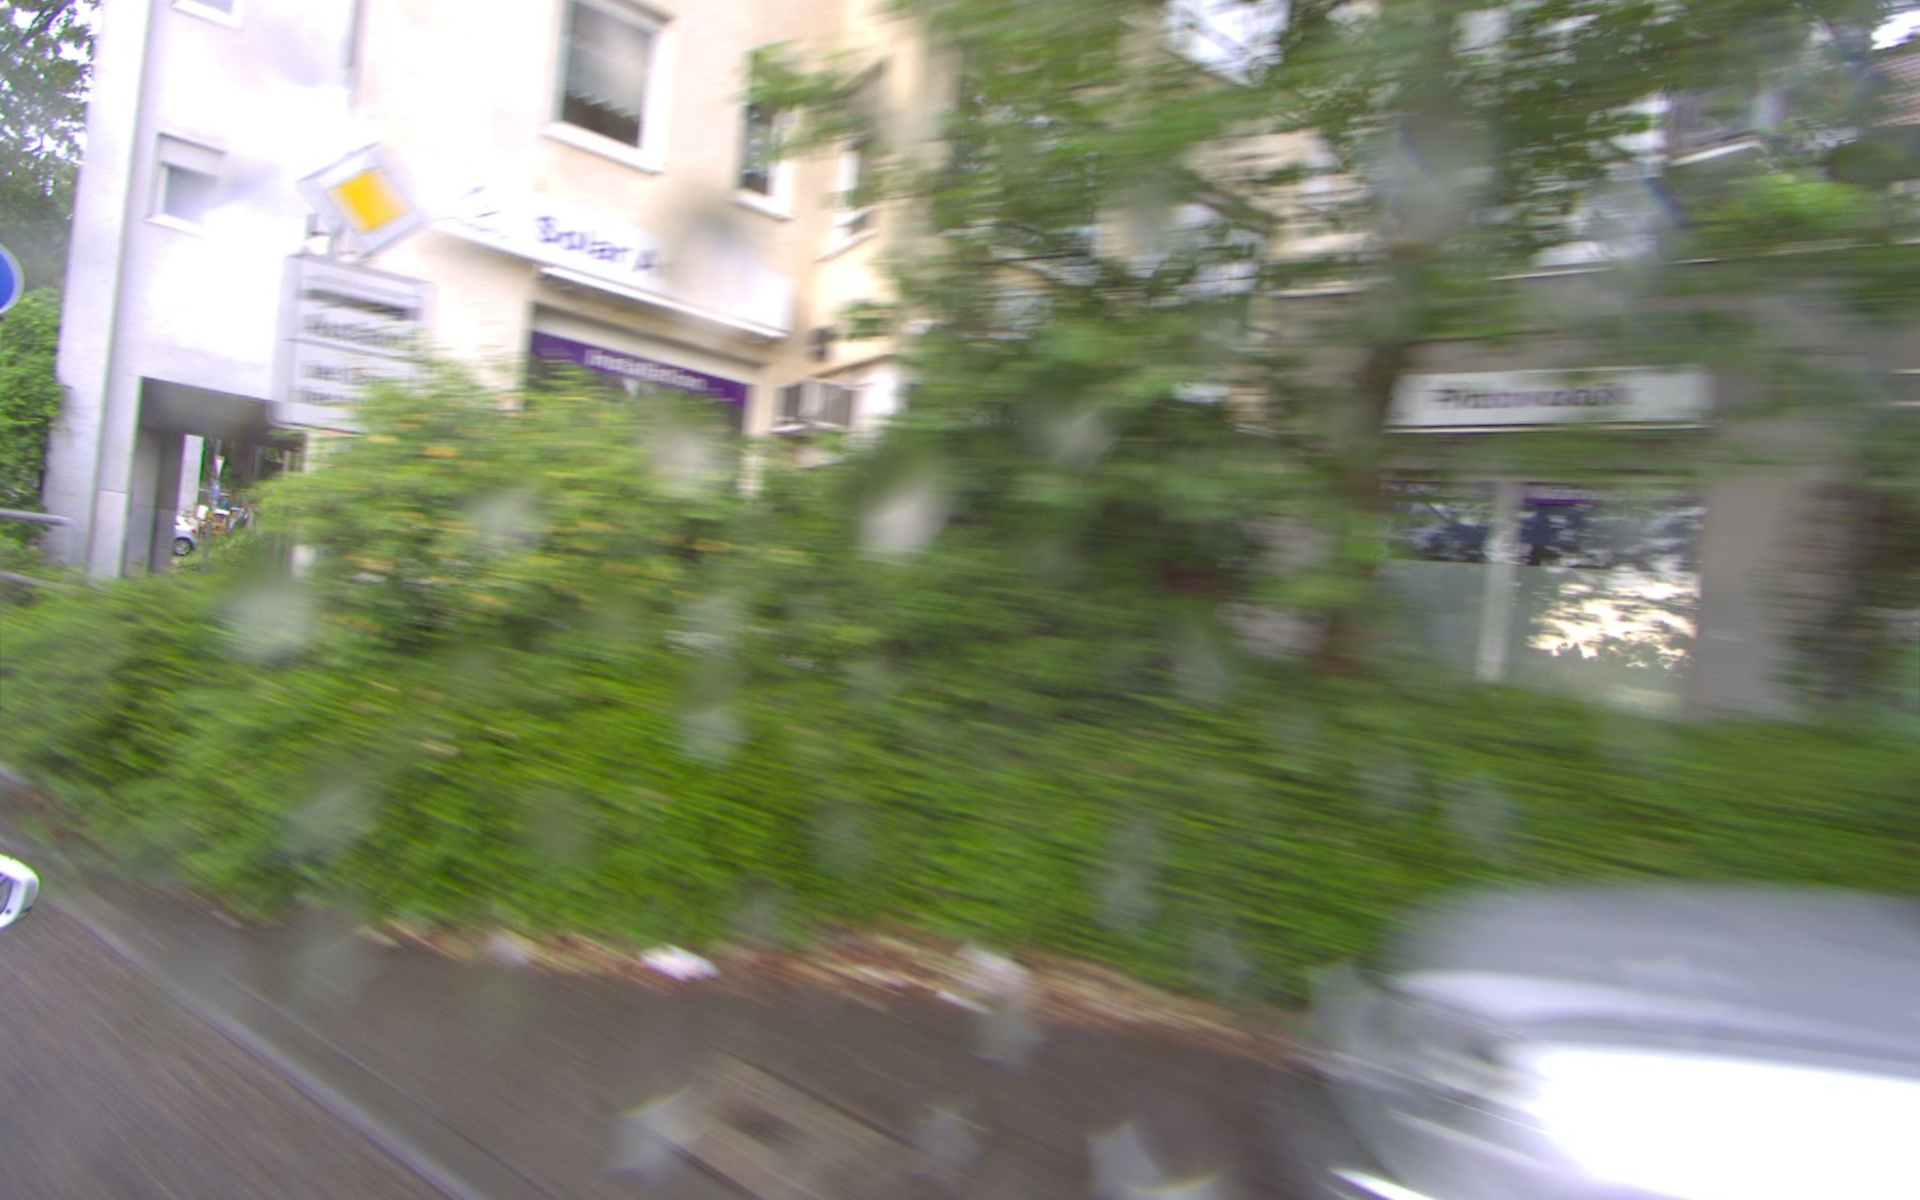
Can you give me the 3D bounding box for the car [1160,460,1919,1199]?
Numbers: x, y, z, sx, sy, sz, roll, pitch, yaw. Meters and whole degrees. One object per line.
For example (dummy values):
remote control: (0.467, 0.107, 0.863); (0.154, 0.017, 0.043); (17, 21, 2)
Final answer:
car: (2.824, 0.949, 1.227); (4.657, 1.803, 1.932); (7, 1, 33)
